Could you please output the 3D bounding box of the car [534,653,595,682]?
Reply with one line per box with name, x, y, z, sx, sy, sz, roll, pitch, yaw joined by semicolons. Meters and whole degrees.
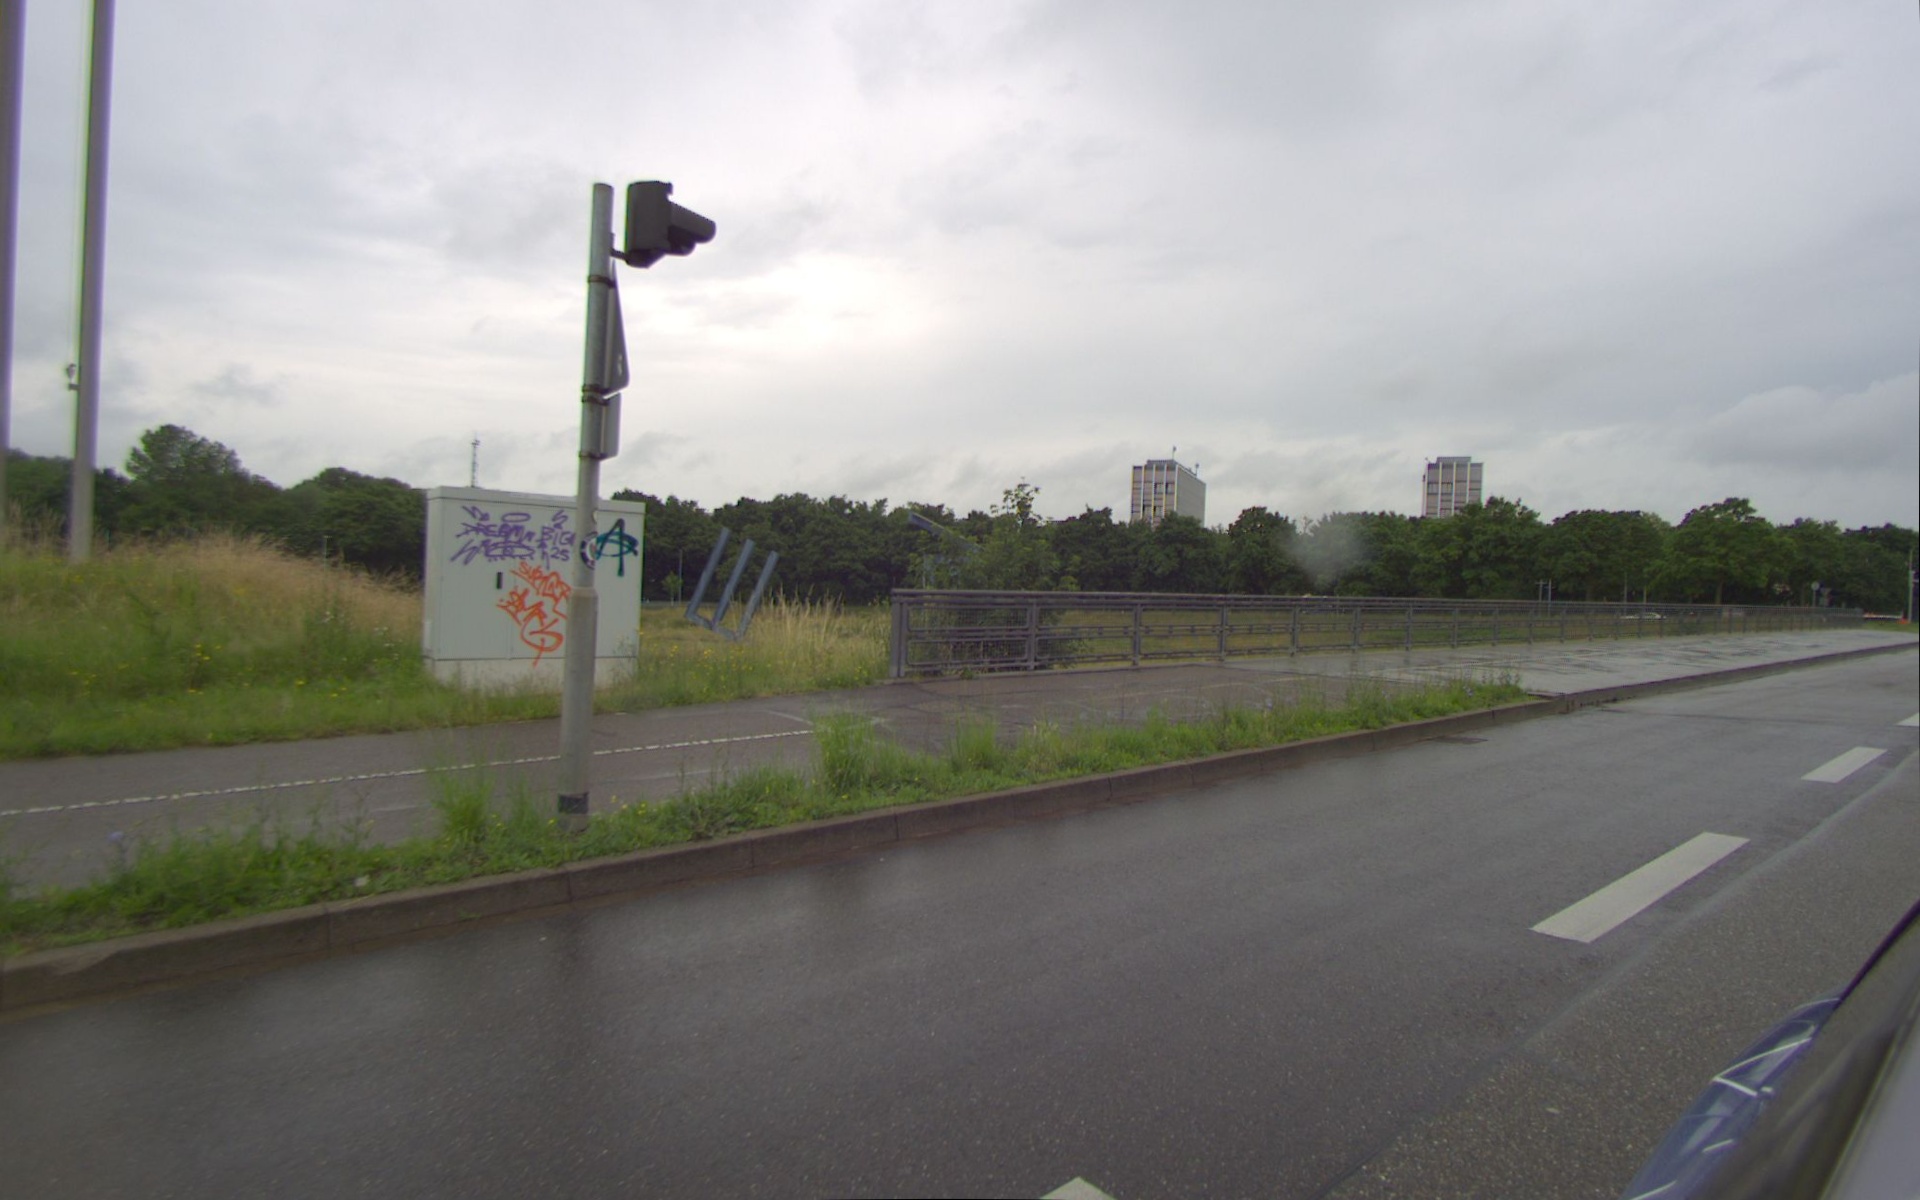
car;-28.027;4.772;71.708;3.965;1.750;1.979;1;0;30
